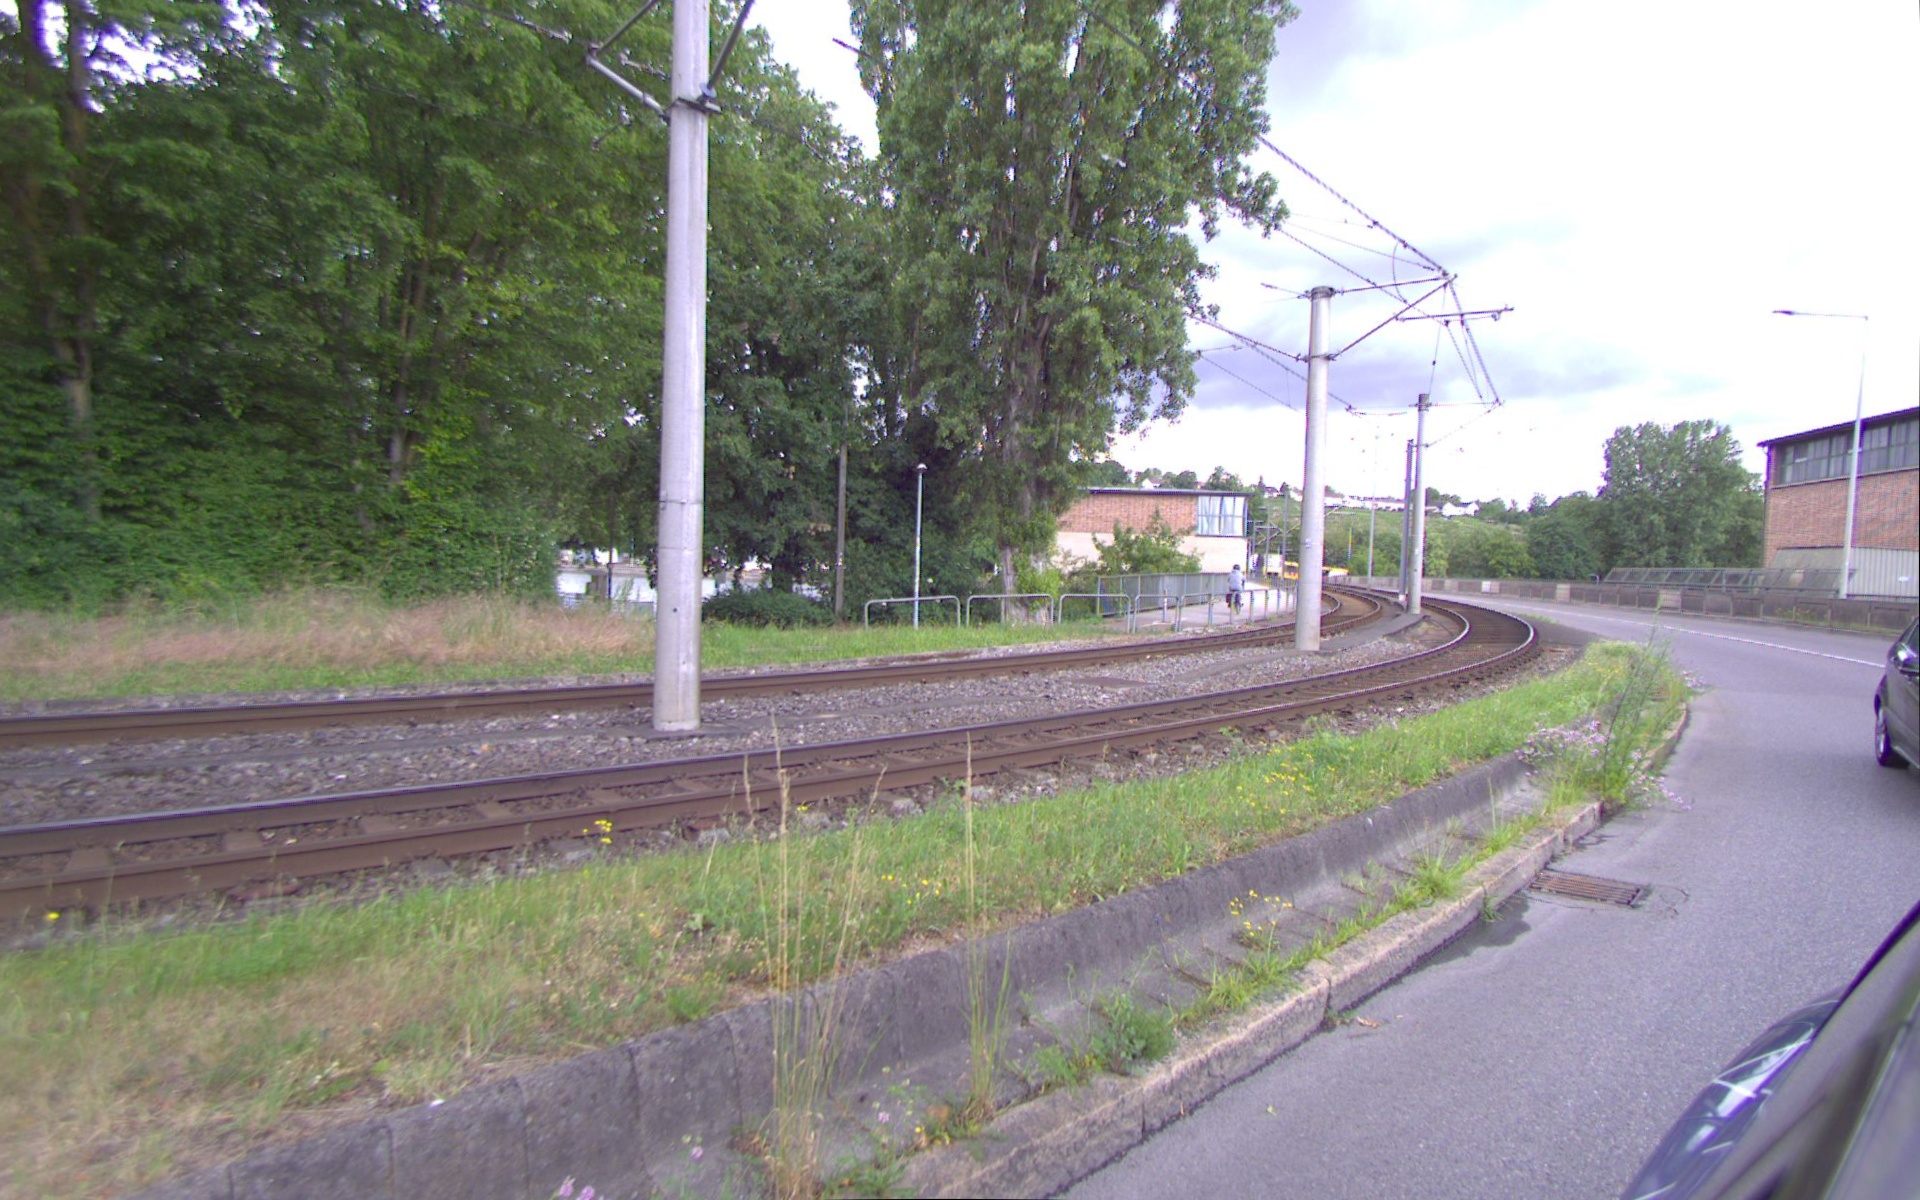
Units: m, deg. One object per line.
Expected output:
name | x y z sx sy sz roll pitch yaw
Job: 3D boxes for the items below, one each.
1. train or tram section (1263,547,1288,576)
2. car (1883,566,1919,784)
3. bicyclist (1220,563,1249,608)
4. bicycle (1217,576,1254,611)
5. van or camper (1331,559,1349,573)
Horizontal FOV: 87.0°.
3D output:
train or tram section | 45.671 -5.597 146.776 2.990 3.966 9.400 2 3 15
car | 8.283 0.590 7.425 1.852 1.641 3.946 3 3 38
bicyclist | 8.664 -0.461 31.946 0.592 1.377 0.898 1 1 37
bicycle | 8.703 -0.201 31.921 0.425 1.063 2.052 1 1 36
van or camper | 69.689 -6.206 185.618 2.141 2.506 4.657 2 2 32
